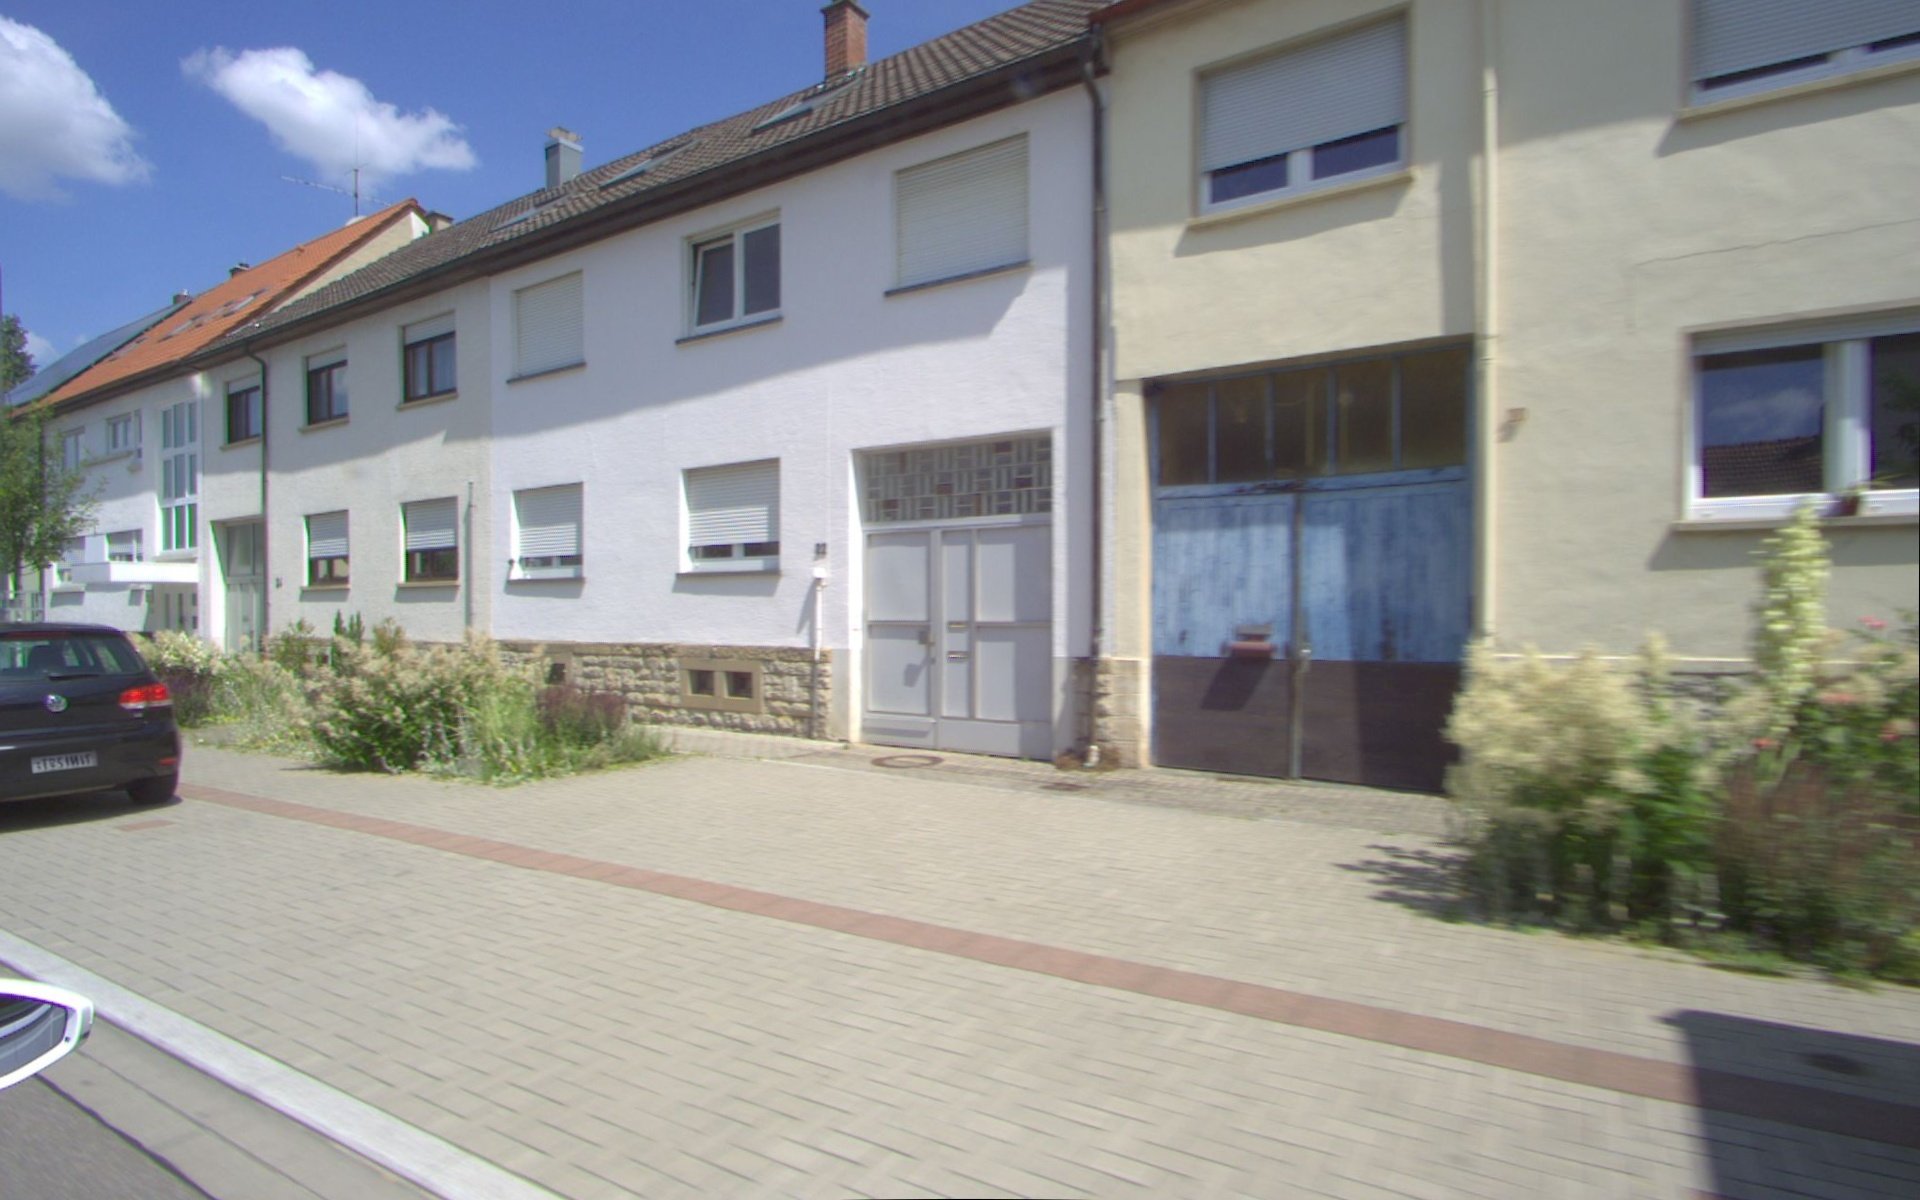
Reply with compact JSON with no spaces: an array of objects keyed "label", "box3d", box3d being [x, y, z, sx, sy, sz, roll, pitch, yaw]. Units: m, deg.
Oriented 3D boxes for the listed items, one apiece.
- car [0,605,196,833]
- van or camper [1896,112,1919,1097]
[{"label":"car","box3d":[-8.041,0.838,8.080,3.950,1.549,1.763,-1,-1,33]},{"label":"van or camper","box3d":[4.644,-0.006,0.483,5.707,2.848,2.468,0,1,32]}]
